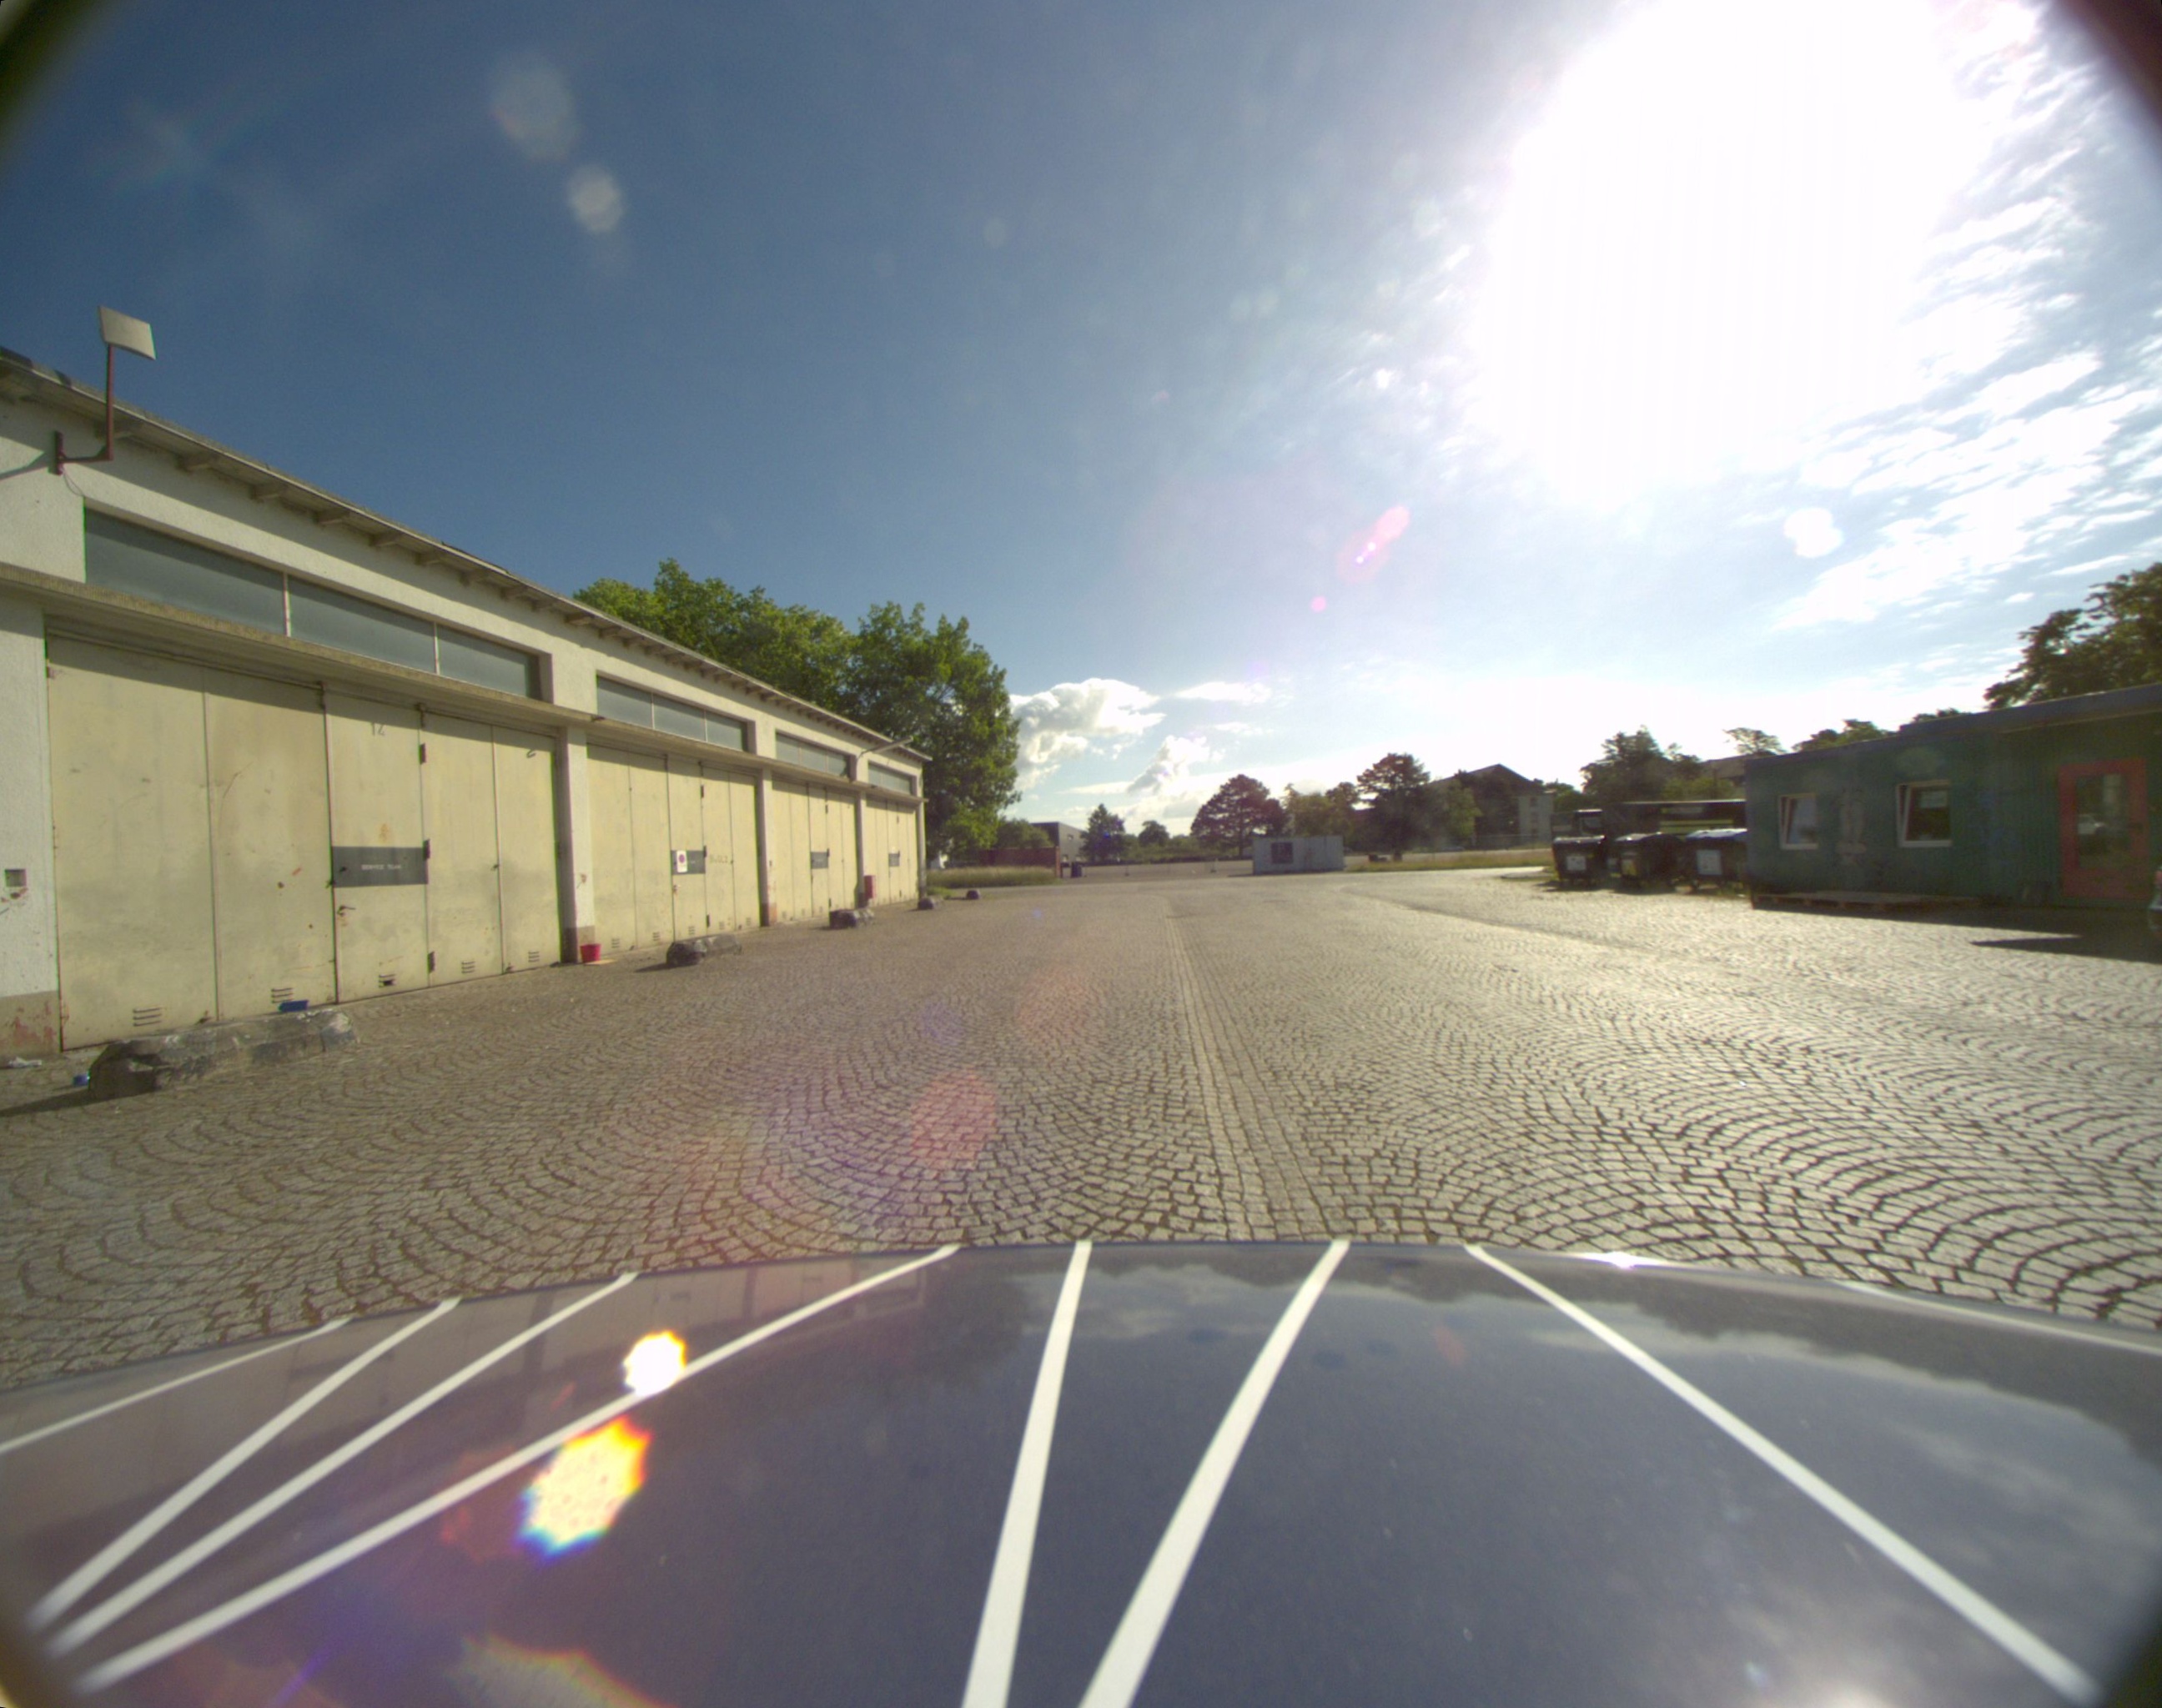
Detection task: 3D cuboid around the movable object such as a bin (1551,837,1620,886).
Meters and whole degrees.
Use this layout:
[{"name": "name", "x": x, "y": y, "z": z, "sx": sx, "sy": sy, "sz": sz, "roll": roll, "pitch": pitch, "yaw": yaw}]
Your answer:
[{"name": "movable object such as a bin", "x": 14.799, "y": 0.225, "z": 22.299, "sx": 1.049, "sy": 1.377, "sz": 1.361, "roll": -3, "pitch": 0, "yaw": -37}]

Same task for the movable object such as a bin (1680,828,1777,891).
[{"name": "movable object such as a bin", "x": 15.760, "y": 0.137, "z": 18.531, "sx": 1.088, "sy": 1.428, "sz": 1.408, "roll": -3, "pitch": 0, "yaw": -6}]

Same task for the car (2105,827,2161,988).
[{"name": "car", "x": 11.559, "y": 0.365, "z": 6.114, "sx": 4.059, "sy": 1.405, "sz": 1.732, "roll": -4, "pitch": 0, "yaw": 3}]

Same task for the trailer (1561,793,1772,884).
[{"name": "trailer", "x": 17.747, "y": -0.461, "z": 23.222, "sx": 4.851, "sy": 2.377, "sz": 1.943, "roll": -3, "pitch": 0, "yaw": 0}]

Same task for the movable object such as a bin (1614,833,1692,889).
[{"name": "movable object such as a bin", "x": 15.082, "y": 0.184, "z": 20.091, "sx": 1.082, "sy": 1.377, "sz": 1.370, "roll": -3, "pitch": 0, "yaw": 9}]

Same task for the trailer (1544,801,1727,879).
[{"name": "trailer", "x": 18.497, "y": -0.446, "z": 25.539, "sx": 4.463, "sy": 2.259, "sz": 2.015, "roll": -4, "pitch": 0, "yaw": 5}]
